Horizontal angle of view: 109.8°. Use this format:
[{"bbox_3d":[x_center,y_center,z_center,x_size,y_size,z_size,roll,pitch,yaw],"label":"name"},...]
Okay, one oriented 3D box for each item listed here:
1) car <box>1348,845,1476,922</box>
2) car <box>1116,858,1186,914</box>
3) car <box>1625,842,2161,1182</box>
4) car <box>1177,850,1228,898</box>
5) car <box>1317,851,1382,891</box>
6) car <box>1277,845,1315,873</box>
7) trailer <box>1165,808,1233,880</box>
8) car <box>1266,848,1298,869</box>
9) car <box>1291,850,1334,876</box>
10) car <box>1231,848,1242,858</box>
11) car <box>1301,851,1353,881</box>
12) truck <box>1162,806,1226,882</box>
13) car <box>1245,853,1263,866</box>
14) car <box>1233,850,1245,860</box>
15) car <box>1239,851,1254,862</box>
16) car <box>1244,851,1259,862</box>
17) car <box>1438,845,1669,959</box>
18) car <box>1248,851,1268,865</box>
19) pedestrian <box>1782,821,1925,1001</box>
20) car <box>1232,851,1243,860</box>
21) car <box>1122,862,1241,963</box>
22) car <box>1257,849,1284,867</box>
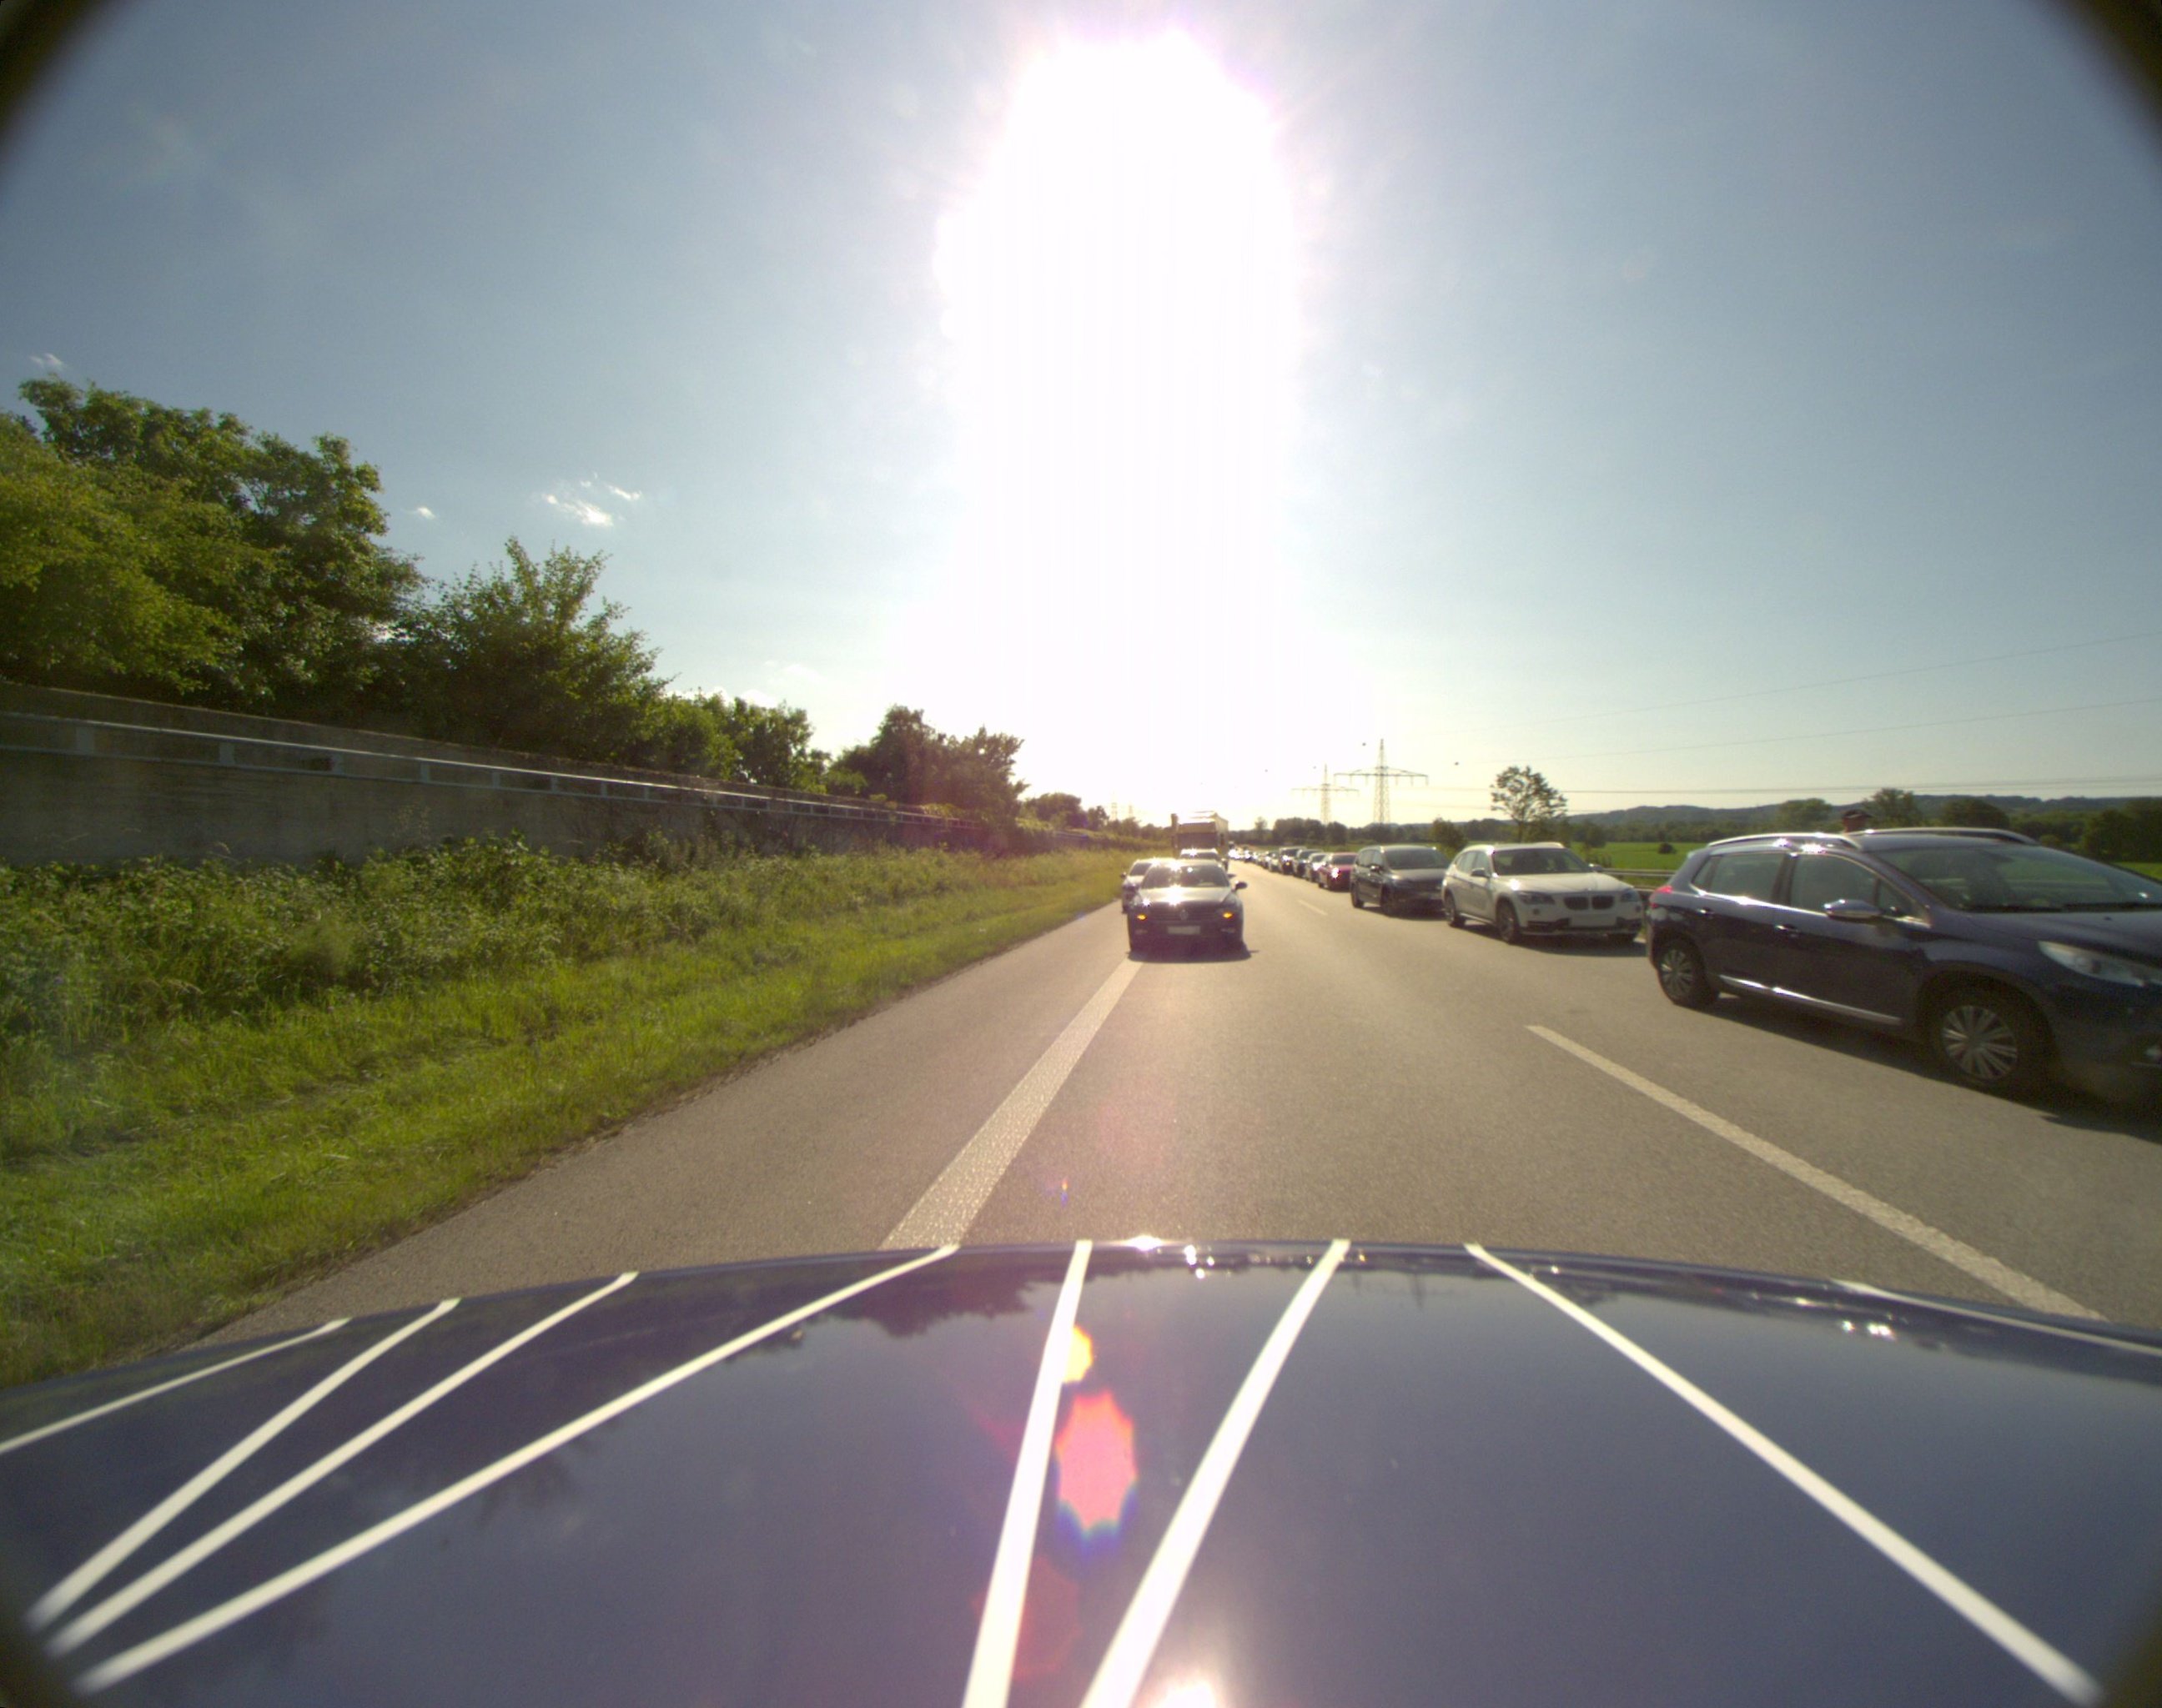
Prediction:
[{"bbox_3d":[7.813,0.624,18.346,1.818,1.606,4.120,-2,0,9],"label":"car"},{"bbox_3d":[2.191,0.897,22.820,1.715,1.417,4.328,-2,0,10],"label":"car"},{"bbox_3d":[5.998,0.721,5.415,1.691,1.526,3.950,-3,0,6],"label":"car"},{"bbox_3d":[4.667,0.705,28.960,1.715,1.614,4.328,-2,0,10],"label":"car"},{"bbox_3d":[10.475,0.634,29.885,1.818,1.450,4.121,-1,0,11],"label":"car"},{"bbox_3d":[14.435,0.311,51.201,1.900,1.777,4.202,-1,0,9],"label":"car"},{"bbox_3d":[8.324,-0.685,51.619,3.384,4.089,13.964,-2,1,13],"label":"trailer"},{"bbox_3d":[15.402,0.335,58.317,1.997,1.522,4.003,-1,0,9],"label":"car"},{"bbox_3d":[13.460,0.512,44.395,1.892,1.446,4.003,-1,0,10],"label":"car"},{"bbox_3d":[28.917,-0.226,141.147,1.812,1.783,3.776,-1,0,9],"label":"car"},{"bbox_3d":[12.351,0.581,38.402,1.893,1.390,4.002,-1,0,9],"label":"car"},{"bbox_3d":[6.921,-0.583,45.668,3.330,4.089,6.975,-2,1,11],"label":"truck"},{"bbox_3d":[19.836,0.583,87.395,1.818,1.450,4.120,-1,0,10],"label":"car"},{"bbox_3d":[26.217,0.145,126.398,1.818,1.450,4.121,-2,0,11],"label":"car"},{"bbox_3d":[23.164,0.344,106.238,1.818,1.450,4.120,-2,0,9],"label":"car"},{"bbox_3d":[21.944,0.320,97.892,1.818,1.450,4.120,-1,0,10],"label":"car"},{"bbox_3d":[7.525,0.663,12.638,1.831,1.564,4.166,-1,0,10],"label":"car"},{"bbox_3d":[18.820,0.398,80.875,1.818,1.450,4.121,-2,0,11],"label":"car"},{"bbox_3d":[7.862,0.551,7.774,0.672,1.740,0.815,0,1,10],"label":"pedestrian"},{"bbox_3d":[27.158,0.291,131.970,1.818,1.450,4.121,-1,0,11],"label":"car"},{"bbox_3d":[1.867,0.905,13.475,1.715,1.405,4.328,-2,0,10],"label":"car"},{"bbox_3d":[16.807,0.368,67.512,1.997,1.522,4.003,-1,0,9],"label":"car"}]
